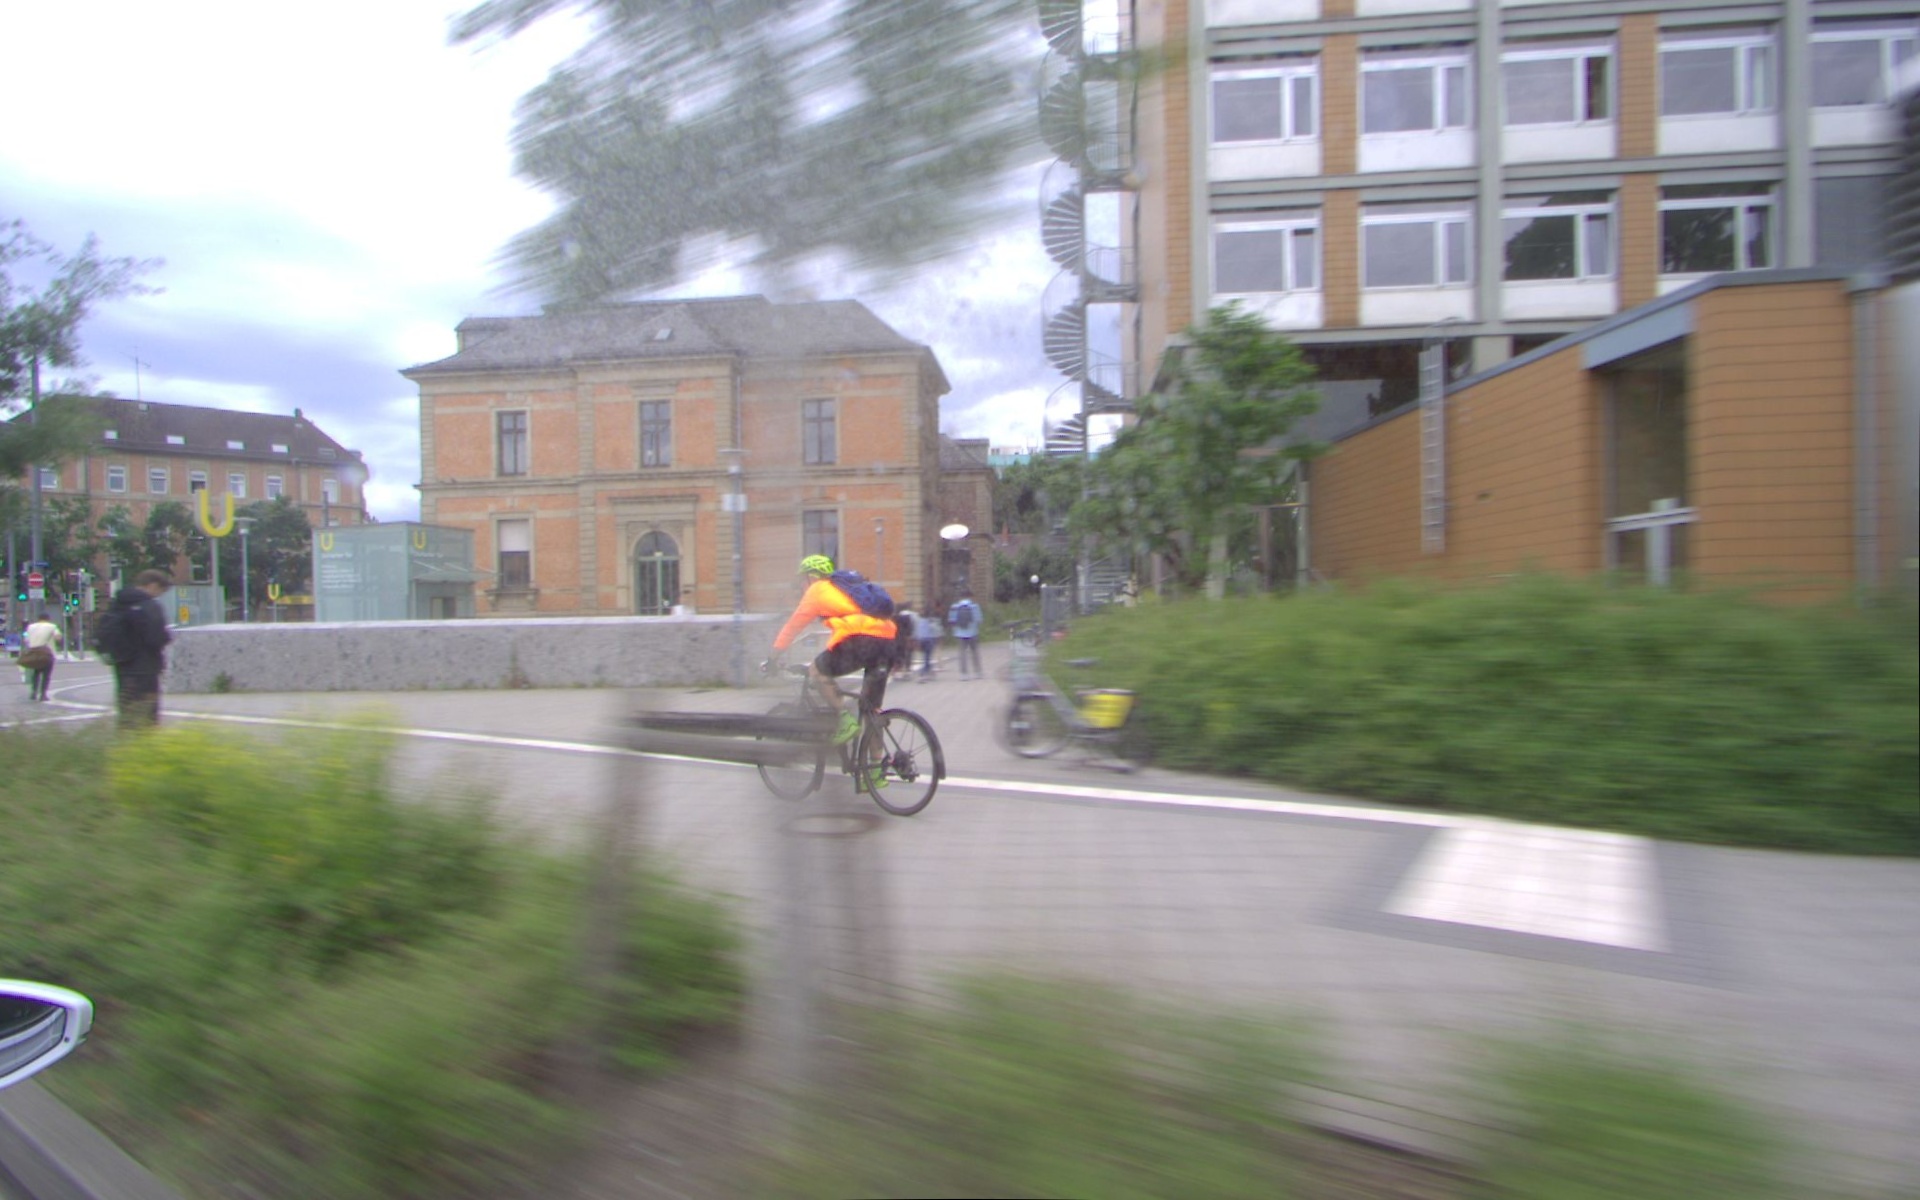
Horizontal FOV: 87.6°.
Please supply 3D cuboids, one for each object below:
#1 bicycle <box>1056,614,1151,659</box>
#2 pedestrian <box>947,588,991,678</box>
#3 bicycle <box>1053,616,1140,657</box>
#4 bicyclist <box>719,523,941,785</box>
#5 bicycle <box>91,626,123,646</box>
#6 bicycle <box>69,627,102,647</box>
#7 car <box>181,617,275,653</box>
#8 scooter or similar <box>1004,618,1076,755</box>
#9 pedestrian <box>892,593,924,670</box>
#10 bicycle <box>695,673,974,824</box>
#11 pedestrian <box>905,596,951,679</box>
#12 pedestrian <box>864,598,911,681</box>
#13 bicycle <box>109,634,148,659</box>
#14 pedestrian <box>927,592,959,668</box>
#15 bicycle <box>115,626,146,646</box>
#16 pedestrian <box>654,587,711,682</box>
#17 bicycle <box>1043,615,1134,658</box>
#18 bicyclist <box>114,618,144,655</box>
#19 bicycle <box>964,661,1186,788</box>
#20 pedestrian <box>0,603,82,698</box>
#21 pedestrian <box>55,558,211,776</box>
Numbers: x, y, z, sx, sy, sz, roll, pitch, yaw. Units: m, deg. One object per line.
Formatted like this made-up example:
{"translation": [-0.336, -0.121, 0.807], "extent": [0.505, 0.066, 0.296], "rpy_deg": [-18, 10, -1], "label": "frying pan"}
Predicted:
{"translation": [3.783, 0.957, 26.421], "extent": [2.335, 1.137, 0.832], "rpy_deg": [0, -1, -15], "label": "bicycle"}
{"translation": [0.191, 0.652, 20.120], "extent": [0.711, 1.759, 0.873], "rpy_deg": [-1, 0, 13], "label": "pedestrian"}
{"translation": [3.892, 1.037, 28.643], "extent": [2.334, 1.137, 0.833], "rpy_deg": [0, -1, -12], "label": "bicycle"}
{"translation": [-0.906, 0.354, 6.973], "extent": [1.303, 1.642, 0.825], "rpy_deg": [-1, 0, 32], "label": "bicyclist"}
{"translation": [-60.622, 2.576, 71.189], "extent": [0.946, 1.371, 3.110], "rpy_deg": [1, -2, -25], "label": "bicycle"}
{"translation": [-61.598, 2.597, 70.578], "extent": [0.946, 1.371, 3.110], "rpy_deg": [1, -2, -25], "label": "bicycle"}
{"translation": [-41.584, 1.967, 57.009], "extent": [1.662, 1.925, 4.385], "rpy_deg": [-1, -1, 10], "label": "car"}
{"translation": [0.820, 0.851, 10.339], "extent": [0.681, 1.306, 1.605], "rpy_deg": [0, -2, 4], "label": "scooter or similar"}
{"translation": [-1.211, 0.732, 23.447], "extent": [0.710, 1.753, 0.874], "rpy_deg": [-1, 0, -3], "label": "pedestrian"}
{"translation": [-0.917, 0.976, 6.973], "extent": [2.044, 0.859, 0.555], "rpy_deg": [-1, -1, 32], "label": "bicycle"}
{"translation": [-0.646, 0.756, 20.338], "extent": [0.711, 1.652, 0.873], "rpy_deg": [-1, 0, 13], "label": "pedestrian"}
{"translation": [-1.482, 0.805, 20.593], "extent": [0.711, 1.652, 0.873], "rpy_deg": [-1, 0, 13], "label": "pedestrian"}
{"translation": [-36.691, 2.046, 44.209], "extent": [0.661, 0.946, 1.855], "rpy_deg": [-3, 1, -18], "label": "bicycle"}
{"translation": [-0.406, 0.698, 23.628], "extent": [0.710, 1.765, 0.874], "rpy_deg": [-1, 0, -3], "label": "pedestrian"}
{"translation": [-59.532, 2.599, 71.893], "extent": [0.946, 1.371, 3.110], "rpy_deg": [1, -2, -25], "label": "bicycle"}
{"translation": [-5.467, 0.681, 19.762], "extent": [0.824, 1.829, 0.702], "rpy_deg": [-1, 0, 16], "label": "pedestrian"}
{"translation": [3.515, 0.995, 27.456], "extent": [2.334, 1.137, 0.833], "rpy_deg": [0, -1, -12], "label": "bicycle"}
{"translation": [-36.720, 1.603, 44.247], "extent": [0.681, 1.582, 0.924], "rpy_deg": [-2, 2, -19], "label": "bicyclist"}
{"translation": [0.893, 0.978, 8.373], "extent": [0.551, 0.859, 2.057], "rpy_deg": [-1, -1, -39], "label": "bicycle"}
{"translation": [-19.101, 1.020, 20.805], "extent": [0.872, 1.892, 1.283], "rpy_deg": [-1, 0, -20], "label": "pedestrian"}
{"translation": [-7.758, 0.614, 9.434], "extent": [0.710, 1.953, 0.874], "rpy_deg": [-1, 0, 2], "label": "pedestrian"}
